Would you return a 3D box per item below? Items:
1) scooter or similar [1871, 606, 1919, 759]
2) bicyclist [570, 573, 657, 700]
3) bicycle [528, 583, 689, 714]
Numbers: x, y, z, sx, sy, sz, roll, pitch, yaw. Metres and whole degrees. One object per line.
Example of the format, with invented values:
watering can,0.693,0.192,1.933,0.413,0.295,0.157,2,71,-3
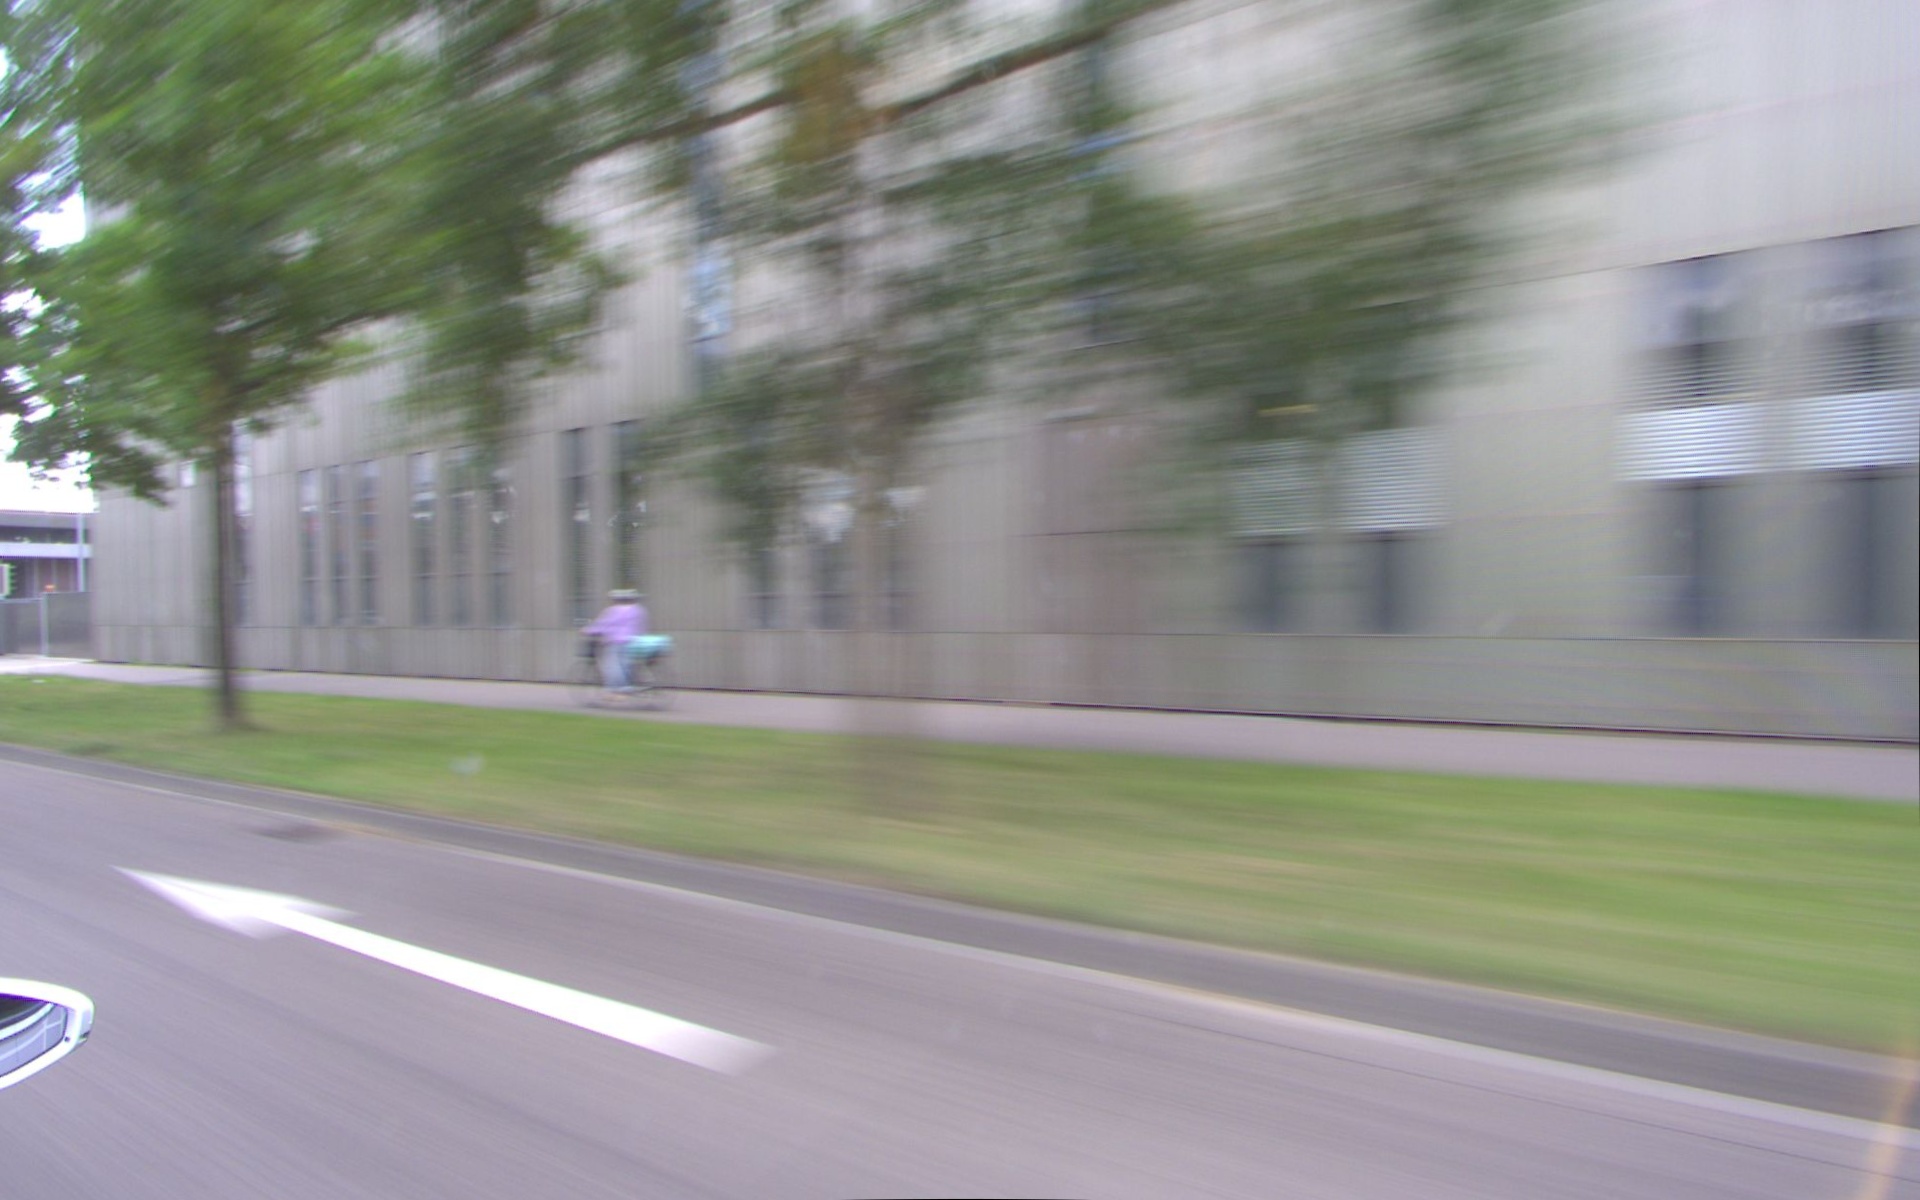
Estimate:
scooter or similar,9.092,0.681,8.100,2.444,1.263,0.703,-1,2,32
bicyclist,-5.055,0.520,14.623,0.973,1.792,0.714,0,1,28
bicycle,-5.186,0.680,14.707,2.494,1.797,0.719,-1,1,28
